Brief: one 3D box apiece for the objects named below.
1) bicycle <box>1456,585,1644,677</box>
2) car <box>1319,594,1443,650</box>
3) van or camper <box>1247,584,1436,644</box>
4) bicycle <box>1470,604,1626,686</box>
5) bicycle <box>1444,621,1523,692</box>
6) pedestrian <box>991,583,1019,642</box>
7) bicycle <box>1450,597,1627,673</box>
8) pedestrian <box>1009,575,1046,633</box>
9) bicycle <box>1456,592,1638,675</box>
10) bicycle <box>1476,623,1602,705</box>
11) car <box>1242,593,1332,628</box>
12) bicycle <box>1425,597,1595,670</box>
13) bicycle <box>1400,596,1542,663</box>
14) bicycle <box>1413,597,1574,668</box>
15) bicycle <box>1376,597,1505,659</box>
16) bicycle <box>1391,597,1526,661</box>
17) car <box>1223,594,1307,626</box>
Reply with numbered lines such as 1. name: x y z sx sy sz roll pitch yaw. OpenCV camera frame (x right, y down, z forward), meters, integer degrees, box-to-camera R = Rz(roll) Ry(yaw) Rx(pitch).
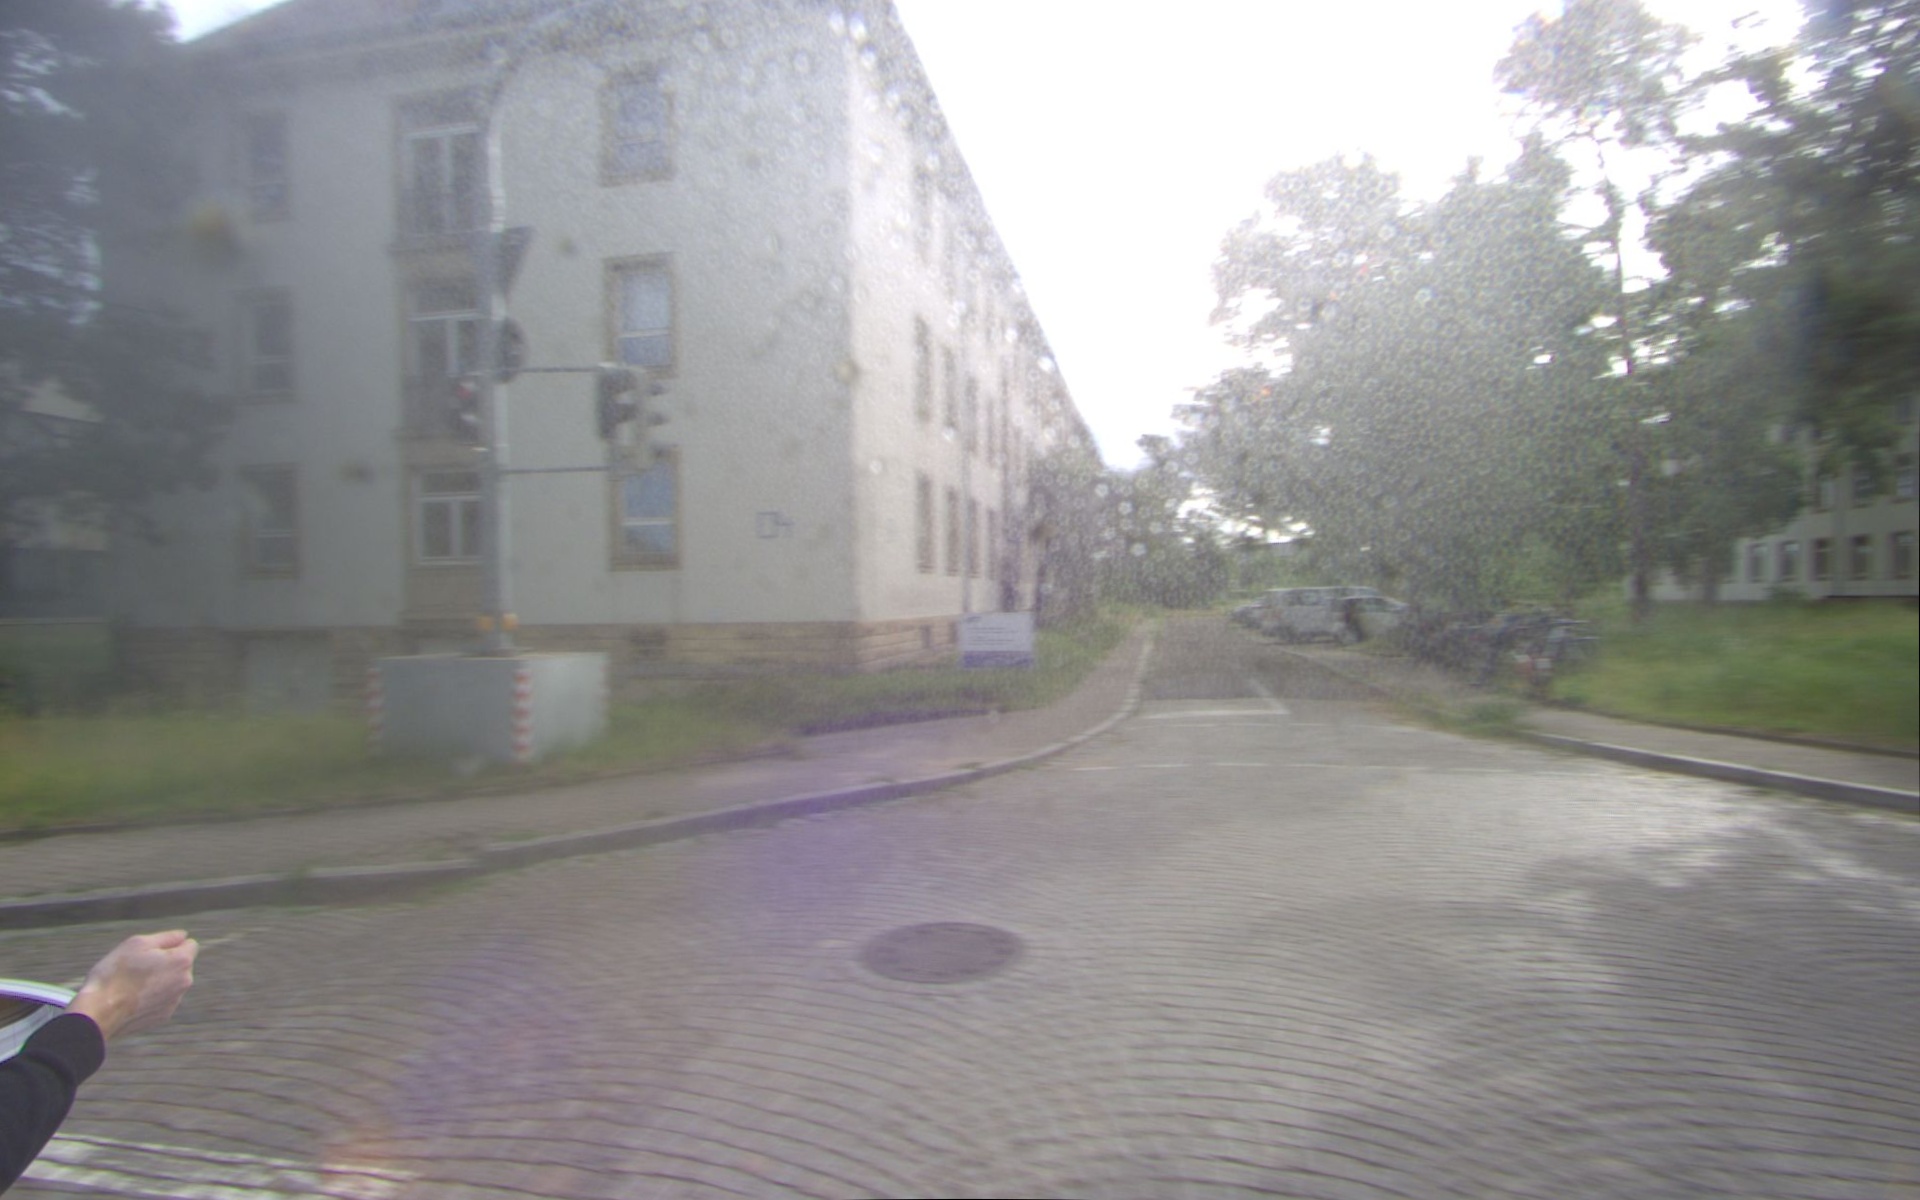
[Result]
1. bicycle: 10.637 0.541 18.171 2.758 1.605 0.950 0 1 11
2. car: 13.066 0.655 31.251 3.174 1.642 1.936 1 0 11
3. van or camper: 13.077 0.479 34.598 5.648 1.983 2.237 0 0 -1
4. bicycle: 9.832 0.729 16.833 2.080 1.324 0.874 0 1 11
5. bicycle: 8.248 0.854 15.860 0.716 1.010 1.976 0 0 16
6. pedestrian: 1.524 0.419 34.146 0.851 1.958 0.837 2 1 0
7. bicycle: 10.942 0.645 19.059 2.758 1.390 0.950 0 1 11
8. pedestrian: 2.242 0.129 33.570 1.175 1.895 1.550 1 0 3
9. bicycle: 10.134 0.558 17.391 2.578 1.385 0.873 0 1 11
10. bicycle: 7.913 0.840 13.793 0.886 1.010 1.977 0 0 11
11. car: 15.687 0.517 48.218 3.923 1.621 1.702 0 0 9
12. bicycle: 10.732 0.644 19.650 2.758 1.390 0.950 0 1 11
13. bicycle: 10.923 0.625 21.506 2.527 1.390 0.950 0 1 11
14. bicycle: 10.877 0.649 20.532 2.758 1.390 0.950 0 1 11
15. bicycle: 11.079 0.633 23.187 2.527 1.390 0.950 0 1 11
16. bicycle: 11.074 0.630 22.332 2.527 1.390 0.950 0 1 11
17. car: 15.605 0.505 51.444 3.923 1.621 1.702 0 0 9
